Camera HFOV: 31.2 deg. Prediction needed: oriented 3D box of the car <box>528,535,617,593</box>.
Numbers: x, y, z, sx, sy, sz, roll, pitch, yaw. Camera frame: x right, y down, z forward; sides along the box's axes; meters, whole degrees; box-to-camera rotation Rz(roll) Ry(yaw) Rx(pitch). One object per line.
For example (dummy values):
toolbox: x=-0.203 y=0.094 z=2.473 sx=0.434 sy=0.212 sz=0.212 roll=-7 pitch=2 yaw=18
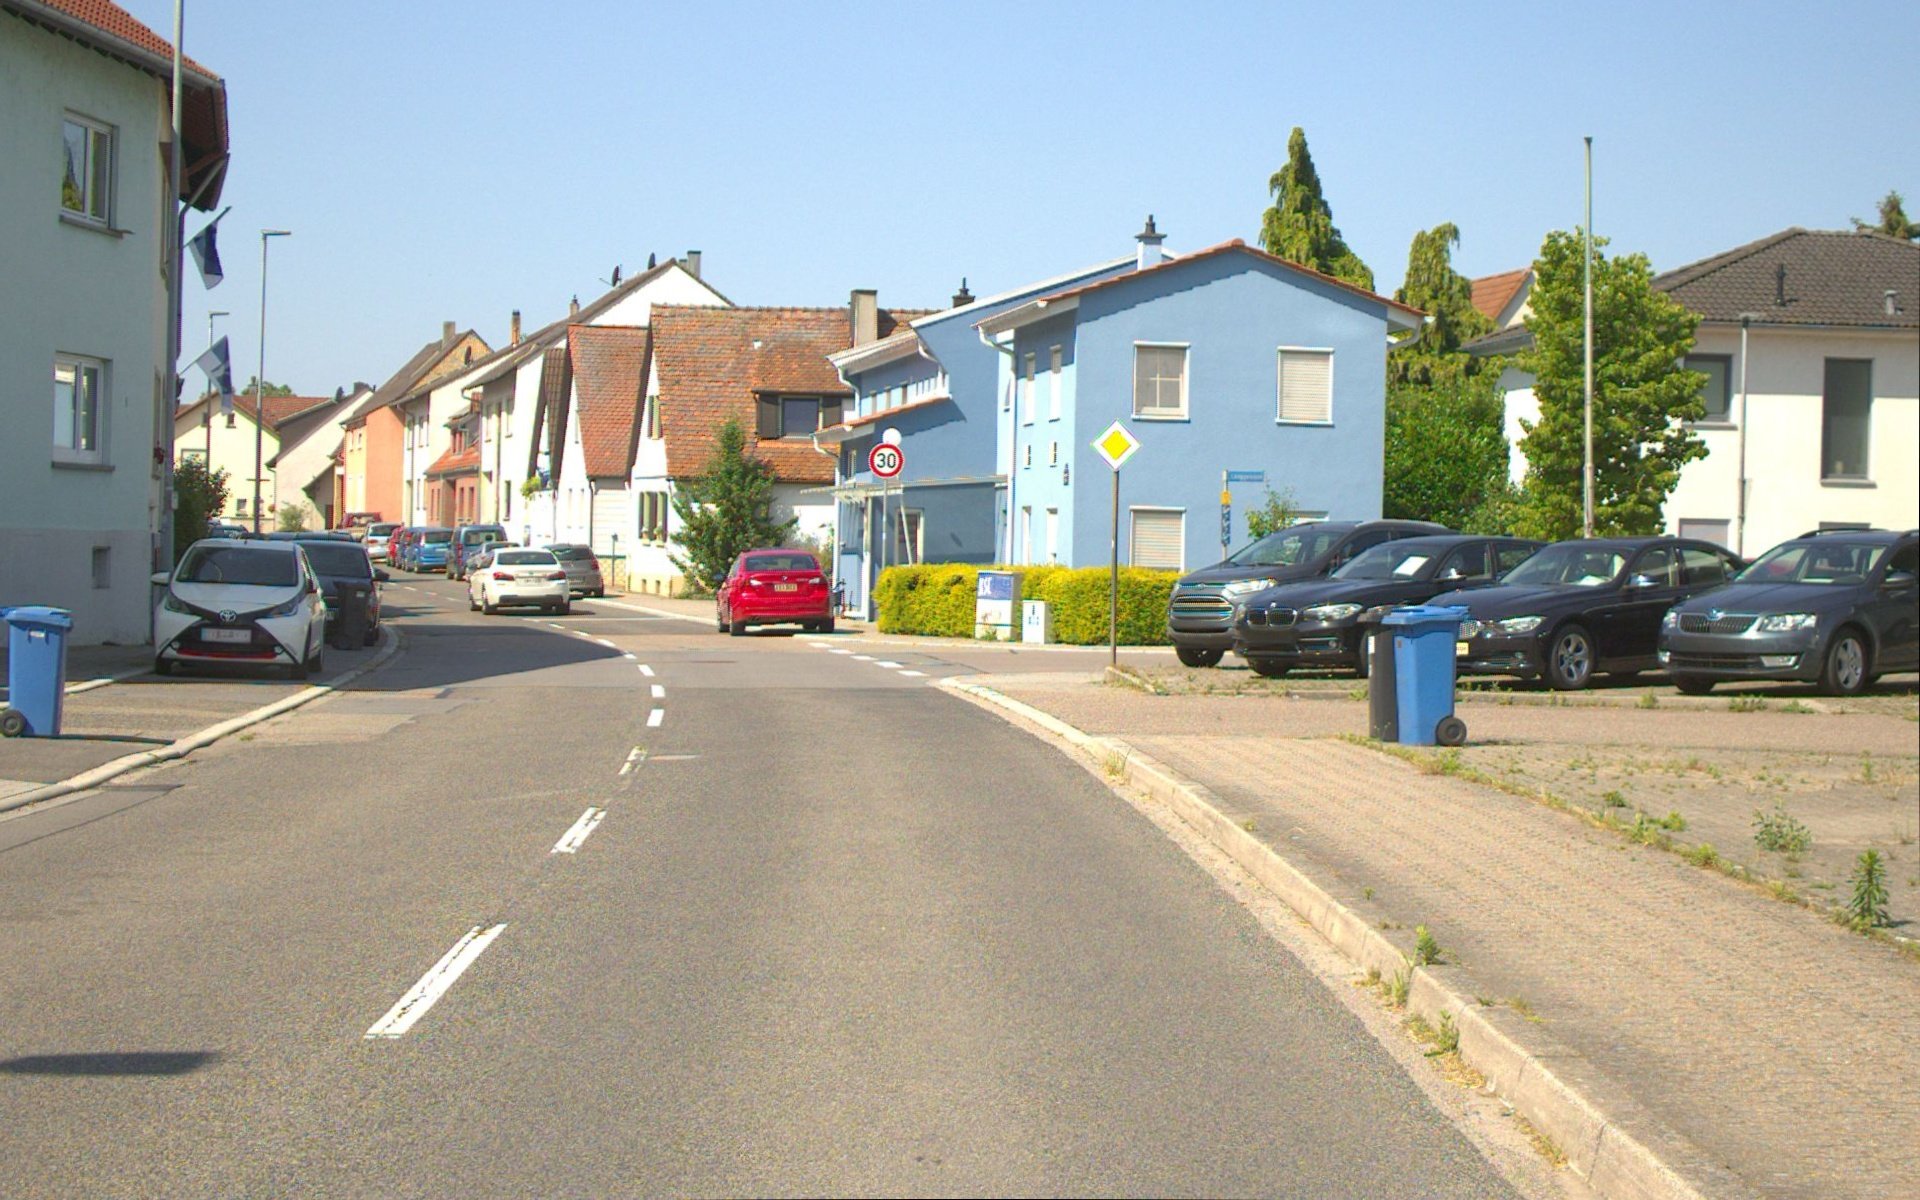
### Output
car: x=-10.167 y=-0.963 z=90.030 sx=1.704 sy=1.428 sz=3.891 roll=2 pitch=1 yaw=-15

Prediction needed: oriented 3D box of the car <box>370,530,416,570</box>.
car: x=-22.938 y=-2.028 z=139.023 sx=1.420 sy=1.510 sz=3.305 roll=2 pitch=1 yaw=-15

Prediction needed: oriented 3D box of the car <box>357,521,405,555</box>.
car: x=-24.861 y=-2.660 z=147.533 sx=1.766 sy=1.428 sz=3.451 roll=1 pitch=1 yaw=-14

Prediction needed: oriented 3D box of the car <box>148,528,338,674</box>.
car: x=-7.755 y=-0.008 z=37.443 sx=1.683 sy=1.457 sz=3.650 roll=2 pitch=0 yaw=-7

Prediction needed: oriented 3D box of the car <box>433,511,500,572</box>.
car: x=-15.993 y=-1.895 z=111.271 sx=1.649 sy=1.903 sz=3.627 roll=2 pitch=1 yaw=-15

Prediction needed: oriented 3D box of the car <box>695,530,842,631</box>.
car: x=-3.326 y=-0.367 z=59.009 sx=1.732 sy=1.489 sz=4.357 roll=0 pitch=3 yaw=-14

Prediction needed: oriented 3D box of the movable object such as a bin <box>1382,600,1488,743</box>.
movable object such as a bin: x=3.173 y=0.476 z=22.992 sx=0.557 sy=0.936 sz=0.515 roll=0 pitch=1 yaw=-10

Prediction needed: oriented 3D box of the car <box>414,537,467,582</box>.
car: x=-18.431 y=-1.452 z=121.885 sx=1.420 sy=1.510 sz=3.305 roll=2 pitch=1 yaw=-15

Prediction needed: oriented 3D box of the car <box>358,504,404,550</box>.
car: x=-25.722 y=-3.222 z=152.686 sx=1.766 sy=1.997 sz=3.451 roll=1 pitch=1 yaw=-14

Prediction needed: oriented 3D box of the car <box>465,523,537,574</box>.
car: x=-14.229 y=-1.602 z=106.415 sx=1.704 sy=1.491 sz=3.453 roll=2 pitch=1 yaw=-15

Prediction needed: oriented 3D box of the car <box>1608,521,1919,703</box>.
car: x=8.053 y=0.073 z=31.417 sx=4.305 sy=1.545 sz=1.983 roll=0 pitch=1 yaw=-42

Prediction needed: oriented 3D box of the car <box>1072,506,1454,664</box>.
car: x=3.374 y=-0.188 z=37.917 sx=4.102 sy=1.647 sz=1.830 roll=0 pitch=1 yaw=-40

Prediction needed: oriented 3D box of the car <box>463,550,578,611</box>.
car: x=-9.749 y=-0.442 z=76.033 sx=1.993 sy=1.284 sz=4.001 roll=1 pitch=1 yaw=-15

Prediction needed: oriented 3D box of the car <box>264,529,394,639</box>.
car: x=-9.185 y=-0.244 z=50.277 sx=1.678 sy=1.432 sz=3.997 roll=4 pitch=0 yaw=-9

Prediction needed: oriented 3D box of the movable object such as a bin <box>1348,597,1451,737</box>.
movable object such as a bin: x=2.997 y=0.455 z=23.491 sx=0.557 sy=0.933 sz=0.515 roll=0 pitch=1 yaw=-10

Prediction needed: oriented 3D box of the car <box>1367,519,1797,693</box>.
car: x=6.044 y=0.027 z=33.158 sx=4.228 sy=1.560 sz=1.983 roll=0 pitch=1 yaw=-44

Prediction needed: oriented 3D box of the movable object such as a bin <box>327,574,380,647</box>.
movable object such as a bin: x=-8.198 y=0.138 z=46.454 sx=0.551 sy=0.925 sz=0.826 roll=5 pitch=0 yaw=-15

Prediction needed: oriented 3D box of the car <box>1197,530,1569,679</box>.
car: x=4.386 y=0.018 z=35.310 sx=3.863 sy=1.442 sz=1.750 roll=0 pitch=1 yaw=-44

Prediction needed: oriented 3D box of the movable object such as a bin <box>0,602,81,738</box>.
movable object such as a bin: x=-6.693 y=0.503 z=24.894 sx=0.557 sy=0.933 sz=0.515 roll=3 pitch=0 yaw=-10
